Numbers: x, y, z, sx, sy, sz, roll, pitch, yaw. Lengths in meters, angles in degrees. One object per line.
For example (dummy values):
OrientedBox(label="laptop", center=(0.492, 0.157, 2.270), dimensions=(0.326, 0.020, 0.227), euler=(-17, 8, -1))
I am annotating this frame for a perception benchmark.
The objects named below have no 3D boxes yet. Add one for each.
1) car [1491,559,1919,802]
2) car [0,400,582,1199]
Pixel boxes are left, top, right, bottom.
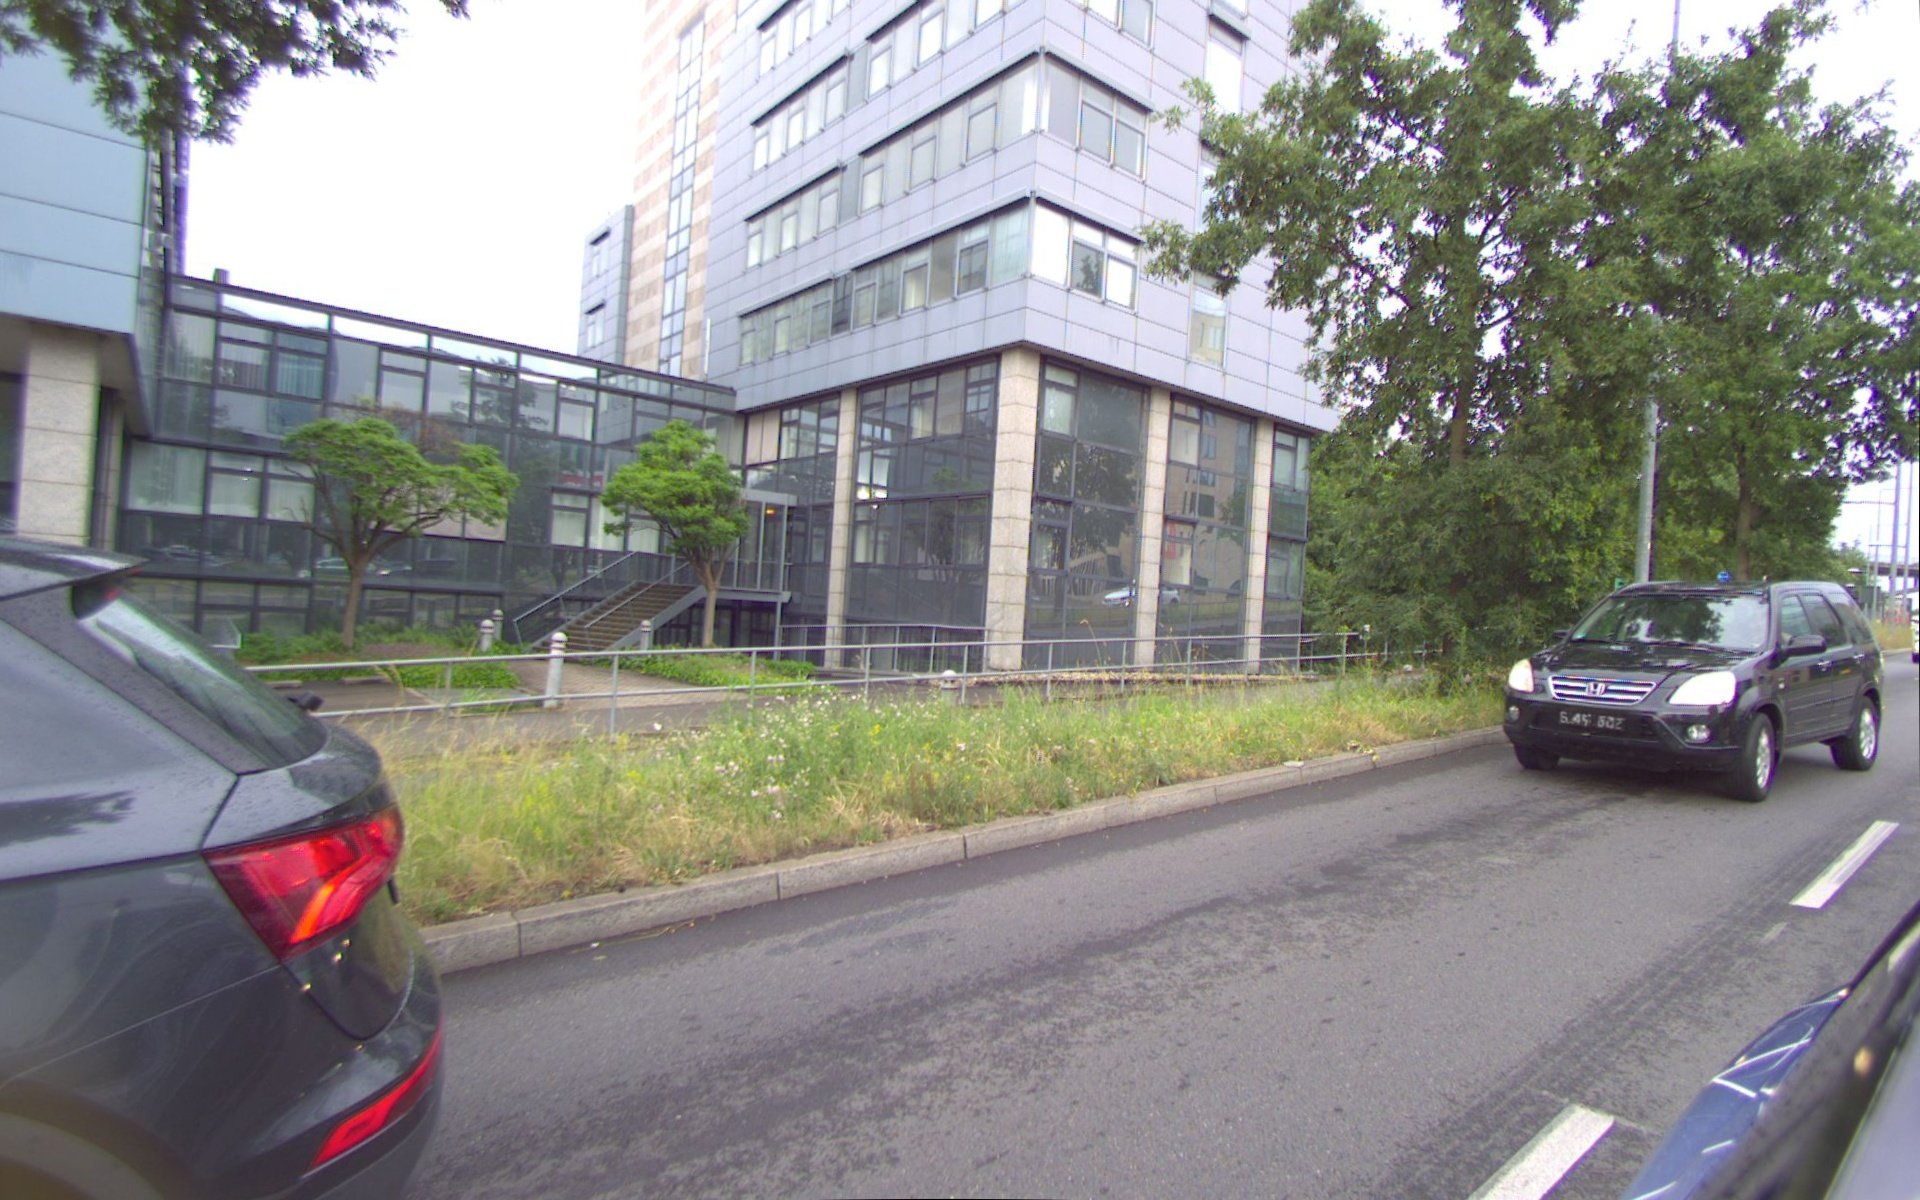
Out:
OrientedBox(label="car", center=(6.686, 0.541, 8.934), dimensions=(4.255, 1.679, 1.760), euler=(0, 1, -35))
OrientedBox(label="car", center=(-2.911, 0.542, 1.017), dimensions=(4.392, 1.633, 1.821), euler=(0, 1, -41))
